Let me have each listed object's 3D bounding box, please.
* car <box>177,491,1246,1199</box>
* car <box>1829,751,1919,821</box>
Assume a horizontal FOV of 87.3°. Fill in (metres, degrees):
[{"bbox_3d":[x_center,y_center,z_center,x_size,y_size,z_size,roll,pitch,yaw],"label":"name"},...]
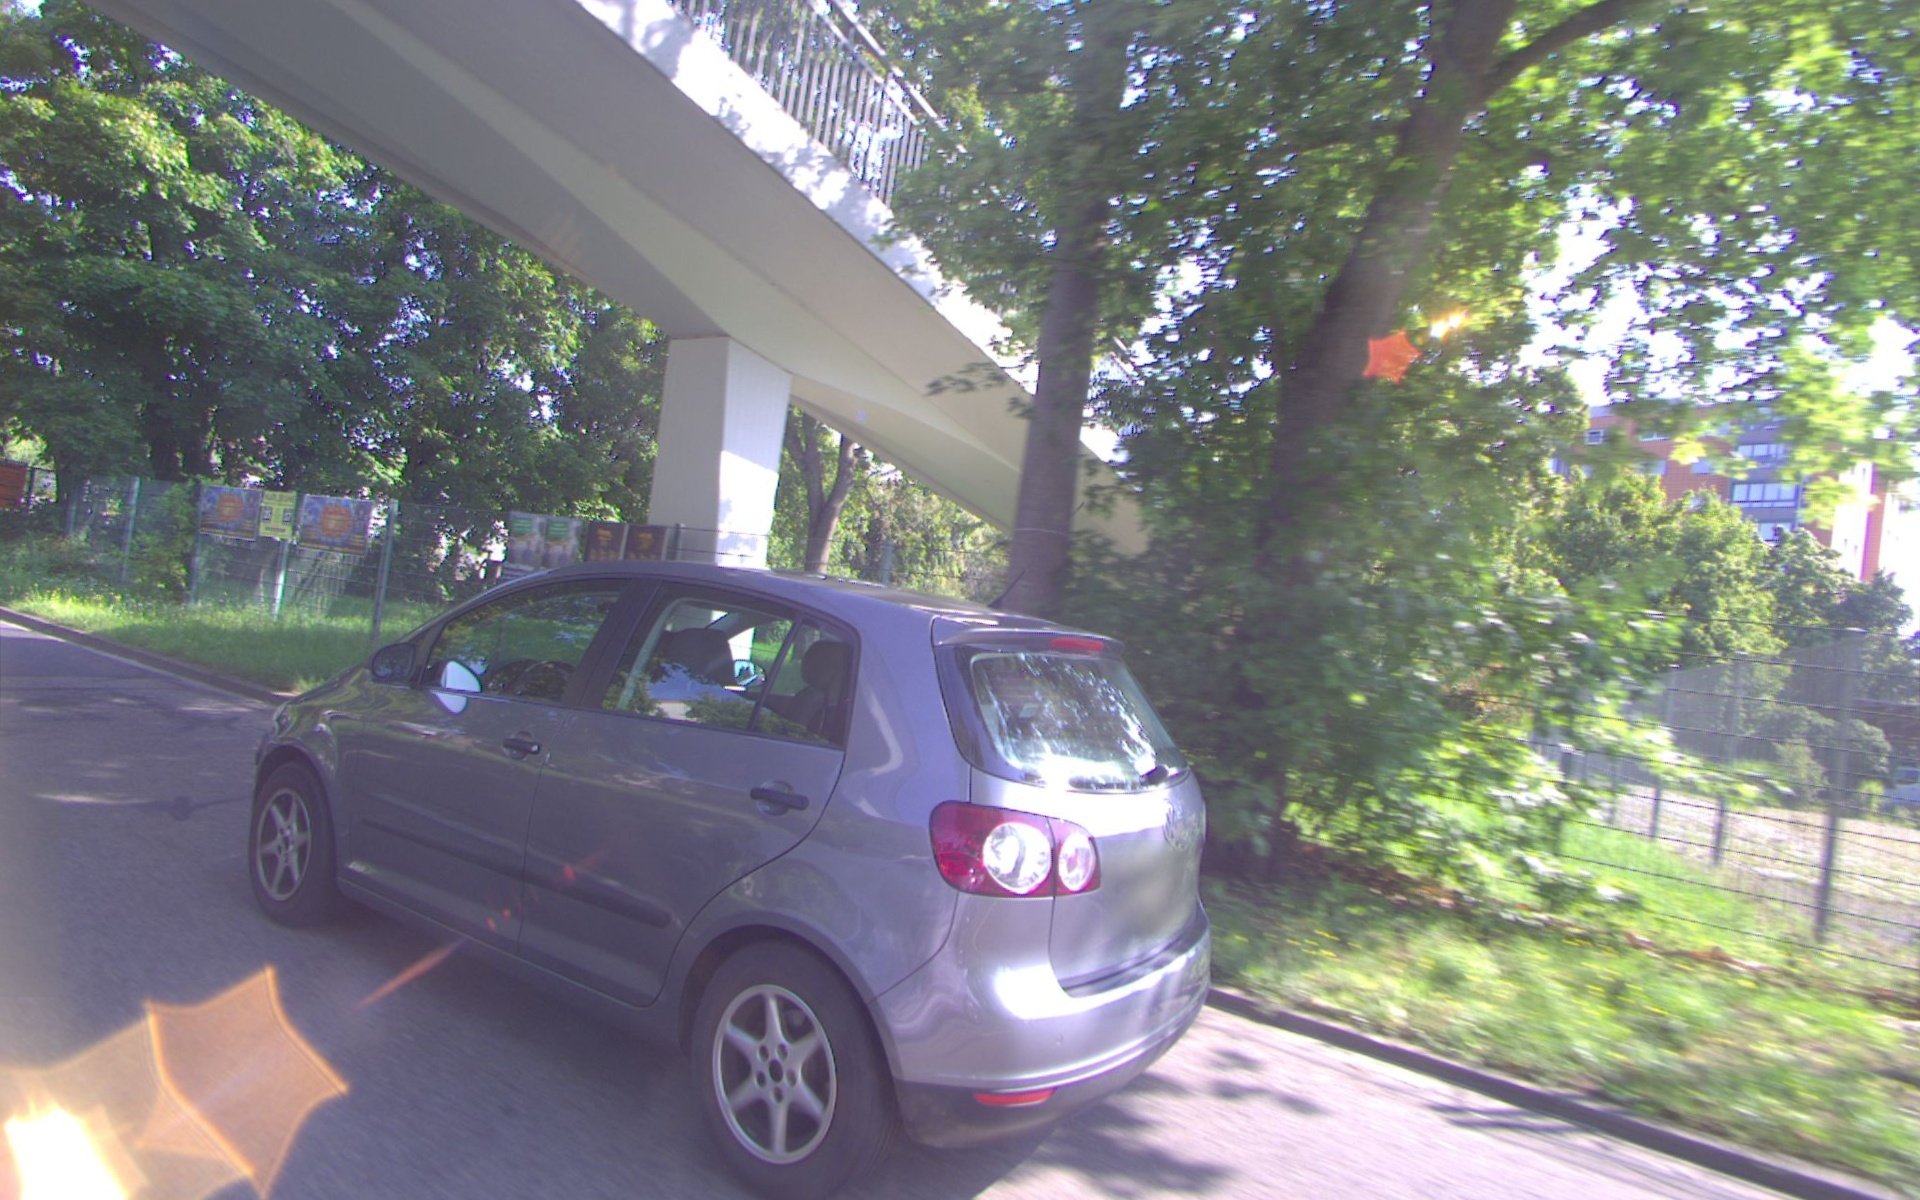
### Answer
[{"bbox_3d":[-1.118,0.598,3.884,3.835,1.574,1.649,6,-3,32],"label":"car"},{"bbox_3d":[29.369,5.836,30.688,3.934,1.736,1.743,7,-2,32],"label":"car"}]
